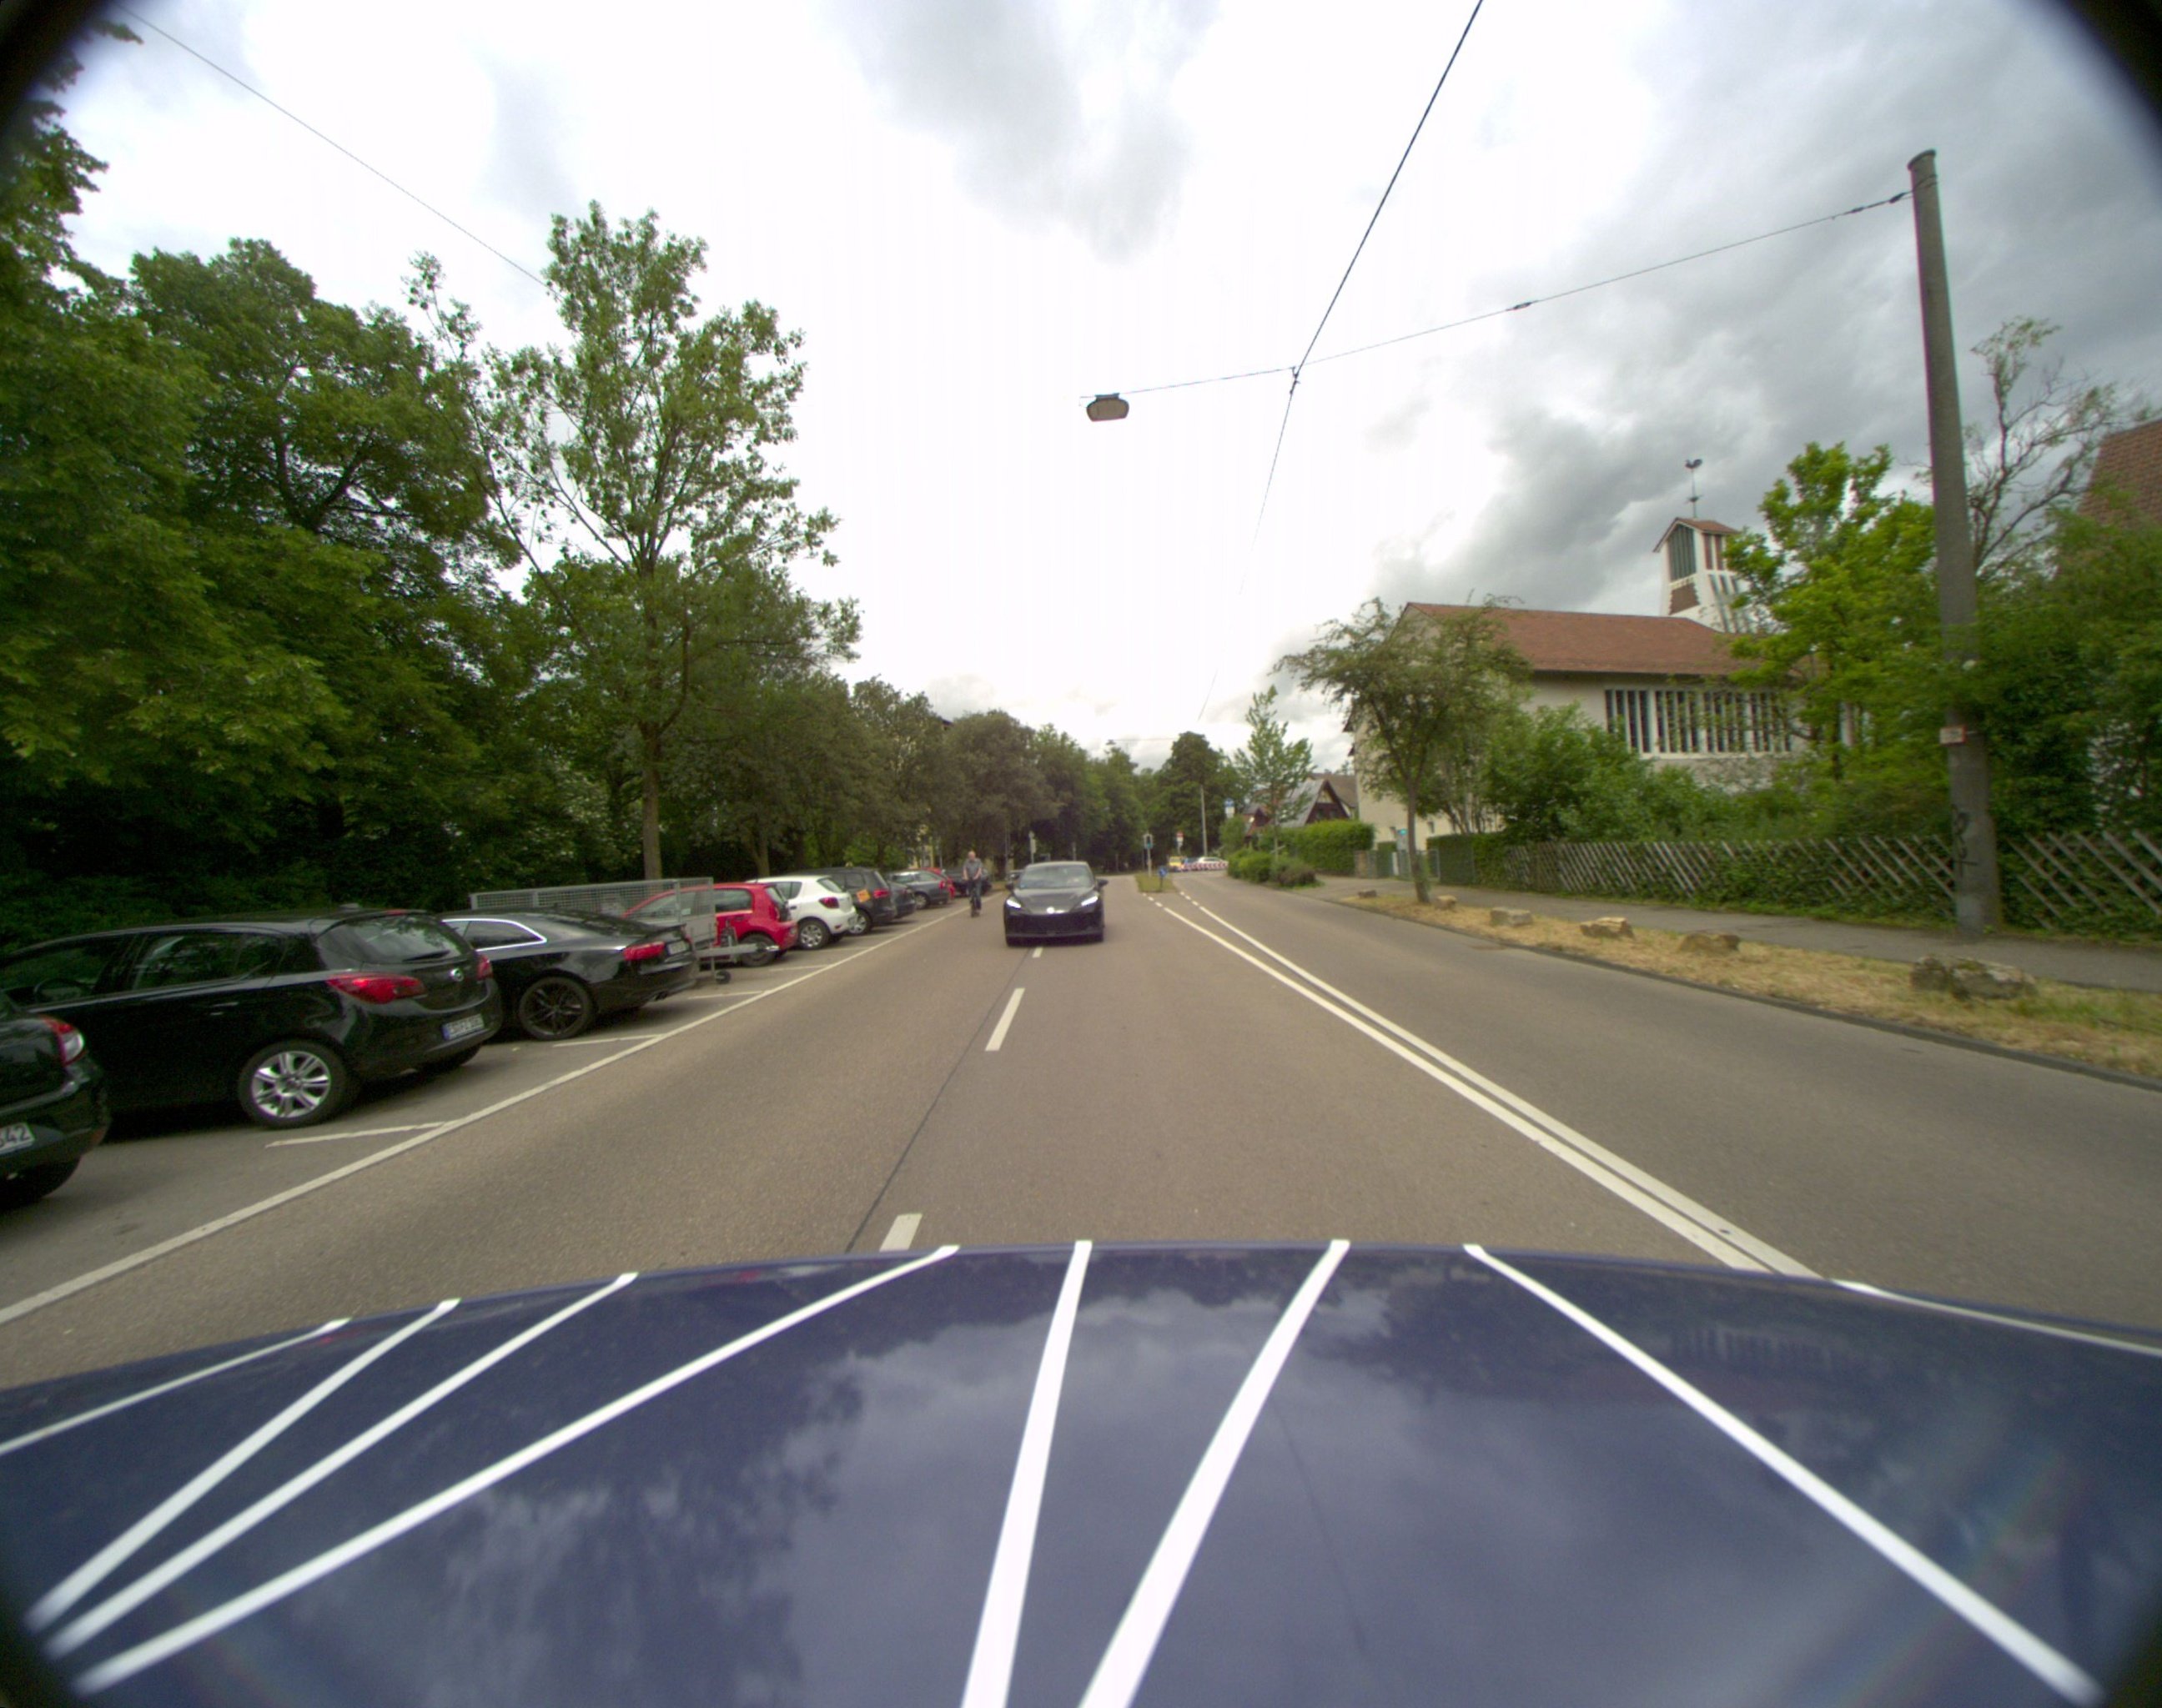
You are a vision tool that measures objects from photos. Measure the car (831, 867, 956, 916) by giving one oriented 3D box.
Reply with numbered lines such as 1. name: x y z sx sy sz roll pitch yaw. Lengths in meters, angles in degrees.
1. car: -6.848 1.341 28.076 4.233 1.455 1.634 -4 0 -8

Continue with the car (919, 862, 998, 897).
1. car: -6.159 1.271 38.472 3.725 1.467 1.576 -4 0 -2

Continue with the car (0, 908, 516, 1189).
1. car: -6.747 1.320 5.449 3.925 1.478 1.616 -4 0 -12

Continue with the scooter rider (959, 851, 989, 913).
1. scooter rider: -3.095 0.796 22.094 0.683 1.720 1.196 -3 0 -4

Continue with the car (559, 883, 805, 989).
1. car: -6.820 1.365 13.335 3.436 1.437 1.558 -4 1 -11

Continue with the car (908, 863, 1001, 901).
1. car: -5.922 1.281 35.717 4.149 1.467 1.575 -4 0 -11

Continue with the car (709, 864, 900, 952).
1. car: -6.507 1.221 18.282 3.999 1.715 1.679 -4 1 -10

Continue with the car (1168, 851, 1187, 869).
1. car: 11.296 0.692 89.461 1.920 1.977 4.802 -3 -1 5

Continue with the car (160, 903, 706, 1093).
1. car: -6.391 1.372 7.982 4.050 1.320 1.558 -4 1 -11

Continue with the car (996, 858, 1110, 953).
1. car: -0.407 0.900 15.253 1.803 1.541 4.299 -3 0 3

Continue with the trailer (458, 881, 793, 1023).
1. trailer: -6.313 1.310 10.948 3.701 1.526 1.644 -4 0 -10

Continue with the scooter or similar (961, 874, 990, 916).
1. scooter or similar: -3.056 1.182 22.125 0.683 1.132 1.459 -3 0 -4

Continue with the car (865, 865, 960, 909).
1. car: -6.721 1.306 30.542 3.535 1.467 1.591 -4 0 -11

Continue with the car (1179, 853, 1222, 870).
1. car: 12.775 0.795 81.388 4.175 1.537 1.846 -3 -2 0

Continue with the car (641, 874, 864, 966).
1. car: -6.684 1.308 15.767 3.831 1.520 1.605 -4 1 -3

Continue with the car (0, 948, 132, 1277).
1. car: -6.840 1.328 2.892 3.853 1.447 1.633 -4 0 -10

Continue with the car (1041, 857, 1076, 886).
1. car: -1.301 0.995 45.469 1.814 1.520 4.000 -3 0 1

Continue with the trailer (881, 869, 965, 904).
1. trailer: -6.806 1.391 33.058 3.413 1.259 1.615 -3 1 -9

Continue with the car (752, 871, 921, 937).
1. car: -6.606 1.324 20.962 4.173 1.398 1.696 -4 1 -10

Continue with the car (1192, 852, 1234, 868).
1. car: 13.659 0.649 78.746 3.904 1.463 1.845 -3 -2 -7
